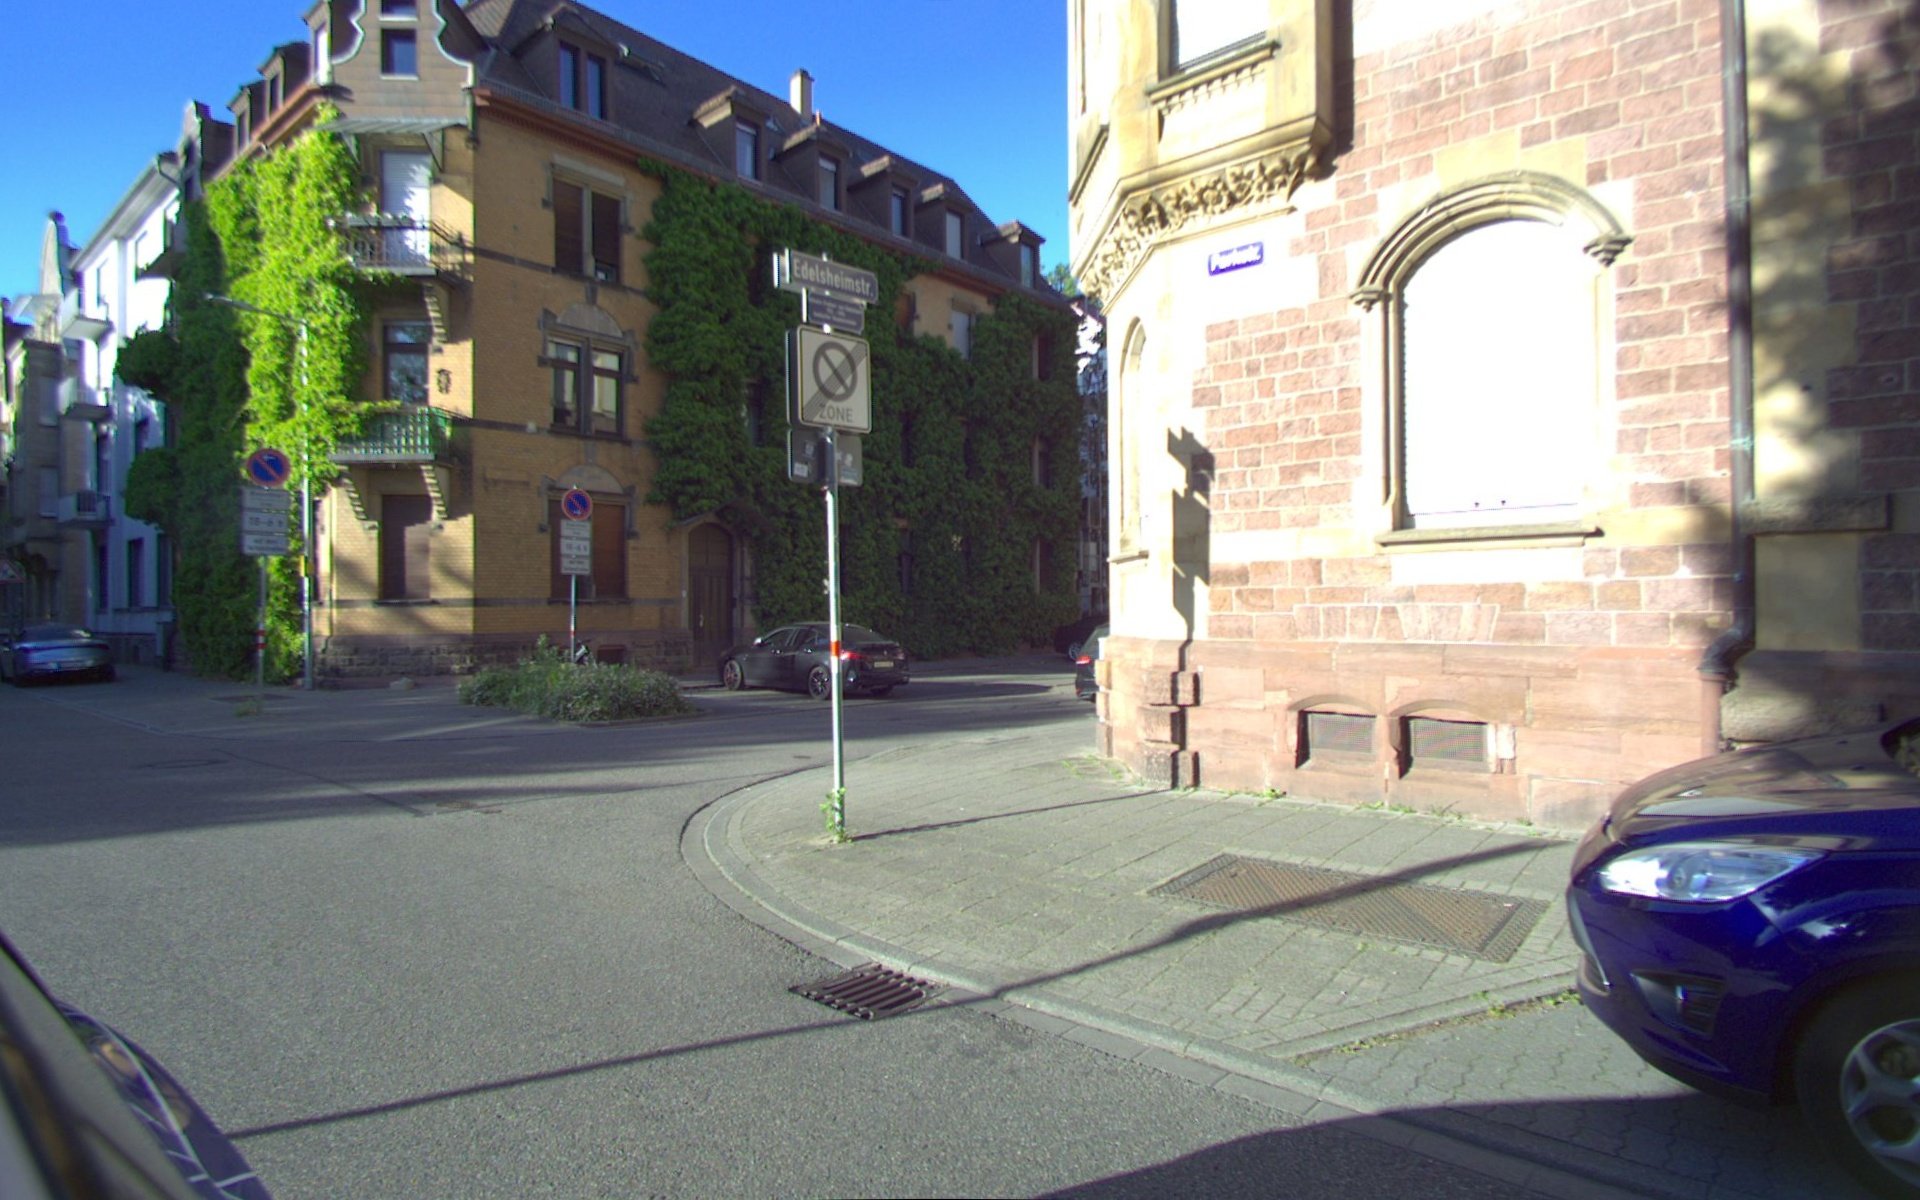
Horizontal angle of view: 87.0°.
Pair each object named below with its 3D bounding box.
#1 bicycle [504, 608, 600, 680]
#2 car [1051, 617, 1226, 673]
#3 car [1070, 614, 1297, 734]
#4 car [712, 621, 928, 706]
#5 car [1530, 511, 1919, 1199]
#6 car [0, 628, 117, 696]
[{"bbox_3d":[-7.640,0.808,18.984,1.578,1.278,0.566,0,-2,-41],"label":"bicycle"},{"bbox_3d":[5.101,1.247,29.379,4.848,1.446,1.687,0,0,41],"label":"car"},{"bbox_3d":[3.573,1.028,15.744,1.743,1.593,3.944,0,0,42],"label":"car"},{"bbox_3d":[-2.849,1.174,20.143,4.255,1.446,1.973,0,0,41],"label":"car"},{"bbox_3d":[3.793,0.598,2.198,4.253,1.634,1.713,0,1,39],"label":"car"},{"bbox_3d":[-22.647,1.468,25.047,4.921,1.415,1.858,-2,1,40],"label":"car"}]
